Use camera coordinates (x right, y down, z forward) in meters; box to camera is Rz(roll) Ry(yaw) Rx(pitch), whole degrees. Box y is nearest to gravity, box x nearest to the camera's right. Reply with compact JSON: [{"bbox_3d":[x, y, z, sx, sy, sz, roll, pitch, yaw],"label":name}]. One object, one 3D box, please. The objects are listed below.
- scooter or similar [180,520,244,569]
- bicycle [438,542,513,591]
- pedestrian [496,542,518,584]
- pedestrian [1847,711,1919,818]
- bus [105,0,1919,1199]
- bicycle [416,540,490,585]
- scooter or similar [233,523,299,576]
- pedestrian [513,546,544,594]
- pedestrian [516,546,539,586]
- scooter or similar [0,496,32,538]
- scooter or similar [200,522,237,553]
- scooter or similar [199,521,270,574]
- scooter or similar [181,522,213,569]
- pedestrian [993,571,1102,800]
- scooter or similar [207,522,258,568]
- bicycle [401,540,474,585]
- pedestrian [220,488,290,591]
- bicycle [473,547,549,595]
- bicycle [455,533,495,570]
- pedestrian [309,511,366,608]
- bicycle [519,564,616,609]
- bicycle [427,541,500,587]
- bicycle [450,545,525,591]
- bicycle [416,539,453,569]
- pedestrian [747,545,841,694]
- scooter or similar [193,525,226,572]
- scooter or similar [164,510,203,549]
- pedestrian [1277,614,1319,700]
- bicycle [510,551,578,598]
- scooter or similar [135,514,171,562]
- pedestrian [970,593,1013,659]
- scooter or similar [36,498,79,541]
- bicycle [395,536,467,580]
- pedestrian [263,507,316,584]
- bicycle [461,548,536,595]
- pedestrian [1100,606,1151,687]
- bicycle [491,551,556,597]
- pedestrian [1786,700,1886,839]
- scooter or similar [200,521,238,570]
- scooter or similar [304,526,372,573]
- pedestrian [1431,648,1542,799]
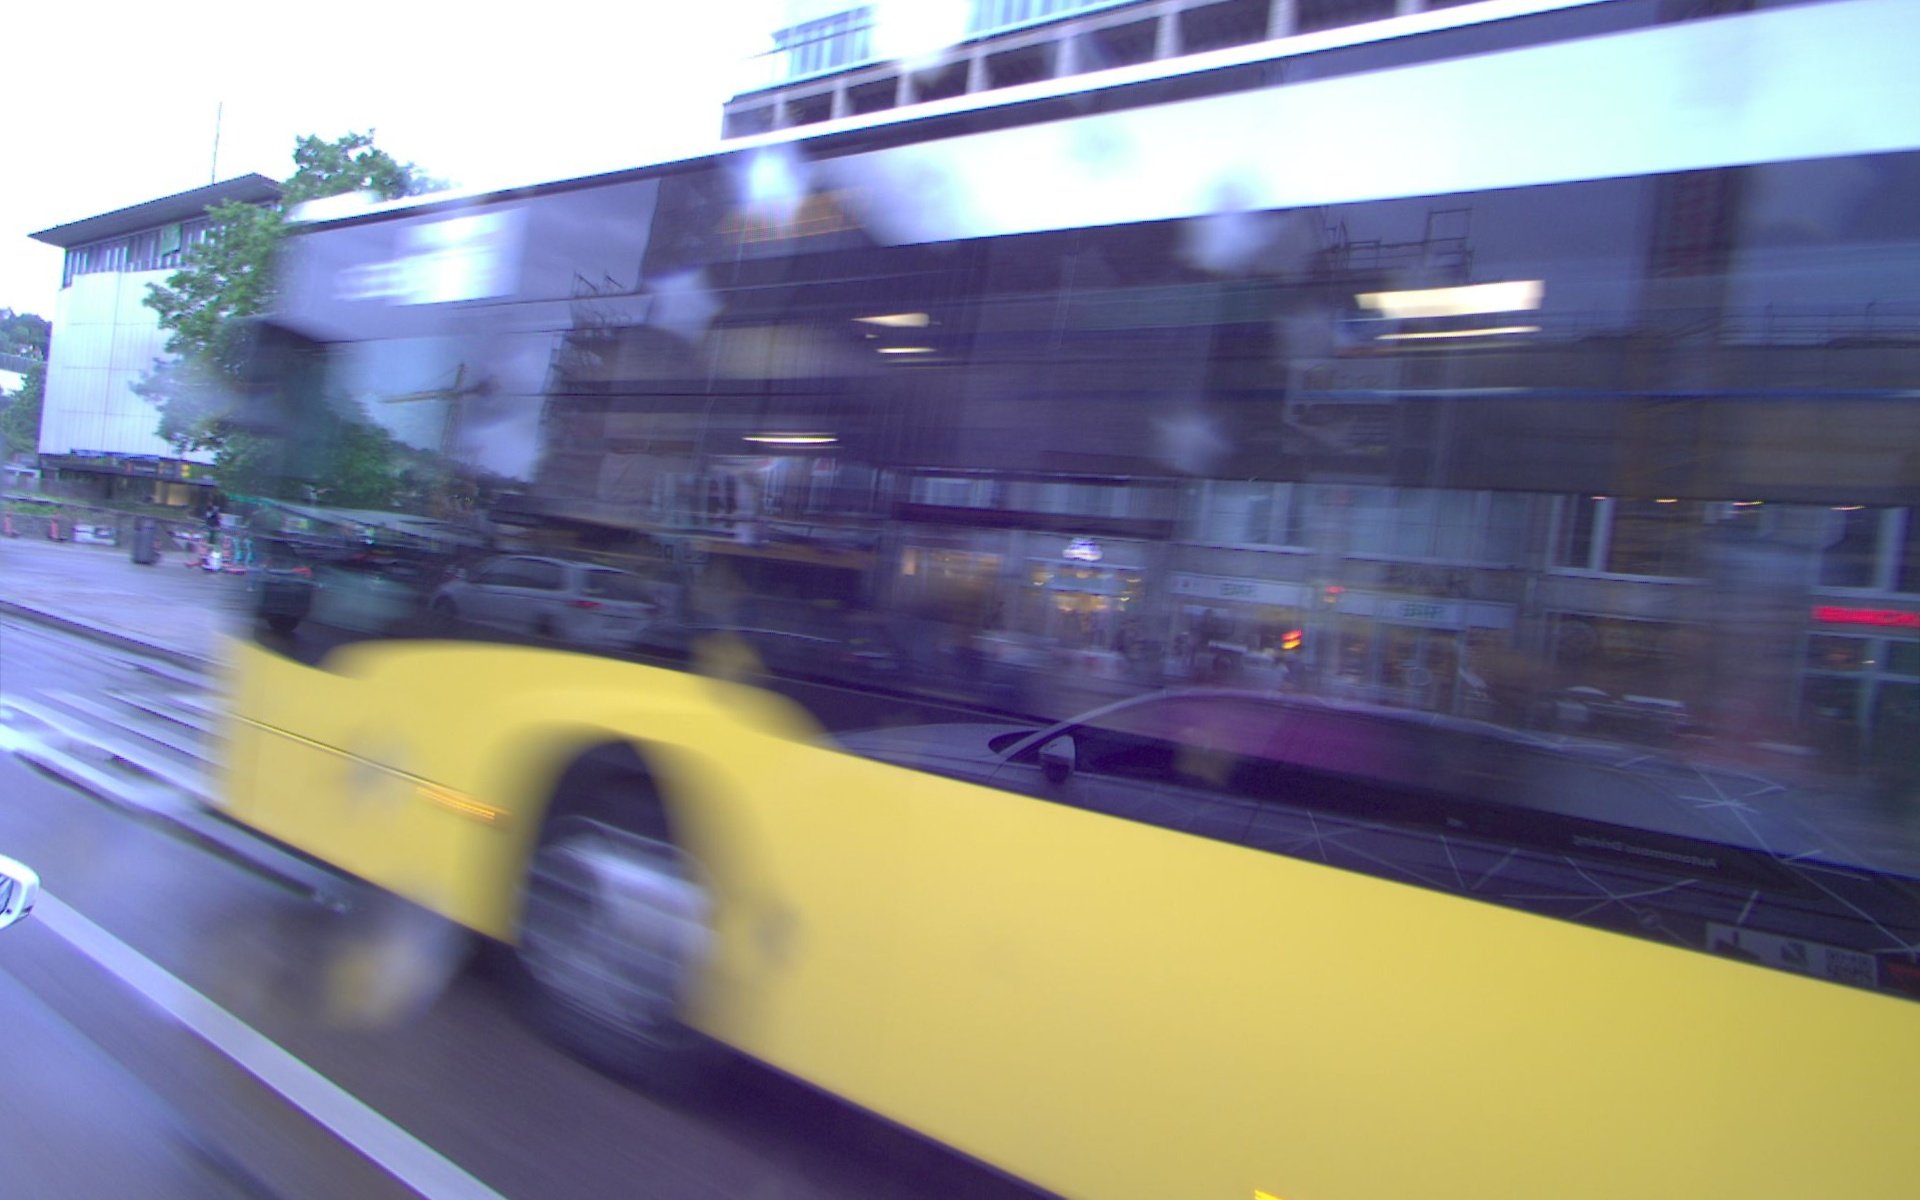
[{"bbox_3d":[-22.276,-1.648,29.985,1.351,1.265,0.435,8,-1,-28],"label":"scooter or similar"},{"bbox_3d":[-15.177,-1.047,31.557,0.608,1.353,1.989,7,2,33],"label":"bicycle"},{"bbox_3d":[-18.336,-1.510,40.707,0.637,1.622,0.613,5,2,-19],"label":"pedestrian"},{"bbox_3d":[14.746,2.594,15.961,0.579,1.540,0.689,7,1,7],"label":"pedestrian"},{"bbox_3d":[1.115,0.231,3.312,9.089,3.243,3.118,7,-1,32],"label":"bus"},{"bbox_3d":[-16.216,-1.181,32.213,0.608,1.254,1.989,7,2,33],"label":"bicycle"},{"bbox_3d":[-19.069,-1.371,27.656,0.581,1.272,1.308,7,-1,18],"label":"scooter or similar"},{"bbox_3d":[-16.328,-1.128,38.065,0.783,1.694,0.885,7,0,-17],"label":"pedestrian"},{"bbox_3d":[-17.597,-1.394,40.958,0.662,1.543,0.779,6,1,-19],"label":"pedestrian"},{"bbox_3d":[-30.463,-2.691,32.463,1.138,1.231,0.352,7,-1,30],"label":"scooter or similar"},{"bbox_3d":[-29.056,-2.436,39.429,1.291,1.048,0.477,7,2,19],"label":"scooter or similar"},{"bbox_3d":[-20.083,-1.444,27.869,1.348,1.245,0.568,7,0,-14],"label":"scooter or similar"},{"bbox_3d":[-21.582,-1.545,28.464,0.941,1.221,0.305,7,0,33],"label":"scooter or similar"},{"bbox_3d":[0.685,0.646,7.750,0.502,1.638,0.595,7,0,22],"label":"pedestrian"},{"bbox_3d":[-22.217,-1.660,30.731,1.086,1.231,0.473,8,0,-28],"label":"scooter or similar"},{"bbox_3d":[-16.957,-1.204,32.698,0.608,1.254,1.989,7,2,33],"label":"bicycle"},{"bbox_3d":[-14.240,-1.219,20.334,0.774,1.957,0.708,7,1,22],"label":"pedestrian"},{"bbox_3d":[-13.500,-0.862,30.317,0.608,1.282,1.989,7,2,33],"label":"bicycle"},{"bbox_3d":[-23.564,-2.350,48.866,2.100,1.581,0.792,7,1,40],"label":"bicycle"},{"bbox_3d":[-11.123,-0.721,17.982,0.649,1.639,0.495,6,1,-44],"label":"pedestrian"},{"bbox_3d":[-11.216,-0.365,28.903,0.863,1.123,2.884,7,1,19],"label":"bicycle"},{"bbox_3d":[-15.709,-1.130,31.879,0.608,1.254,1.989,7,2,33],"label":"bicycle"},{"bbox_3d":[-14.638,-0.975,31.215,0.608,1.254,1.989,7,2,33],"label":"bicycle"},{"bbox_3d":[-22.763,-2.009,43.545,1.995,1.116,0.615,7,3,40],"label":"bicycle"},{"bbox_3d":[-2.152,0.252,13.035,0.730,1.815,0.747,6,1,-44],"label":"pedestrian"},{"bbox_3d":[-19.619,-1.349,26.301,0.434,1.142,1.355,9,-2,-32],"label":"scooter or similar"},{"bbox_3d":[-29.474,-2.678,38.202,1.291,1.348,0.410,7,0,19],"label":"scooter or similar"},{"bbox_3d":[8.016,1.345,23.868,0.470,1.954,0.580,5,2,-44],"label":"pedestrian"},{"bbox_3d":[-12.267,-0.729,29.706,0.606,1.254,1.994,7,2,19],"label":"bicycle"},{"bbox_3d":[-22.389,-1.723,27.906,1.081,1.252,0.324,7,0,33],"label":"scooter or similar"},{"bbox_3d":[0.913,0.767,29.189,0.776,1.815,0.732,7,1,32],"label":"pedestrian"},{"bbox_3d":[-30.197,-2.682,33.667,1.291,1.274,0.374,7,0,19],"label":"scooter or similar"},{"bbox_3d":[-17.485,-1.384,33.268,0.608,1.254,1.989,7,2,33],"label":"bicycle"},{"bbox_3d":[-15.668,-1.270,23.502,0.783,1.662,0.779,6,1,-44],"label":"pedestrian"},{"bbox_3d":[-14.095,-0.860,30.778,0.608,1.254,1.989,7,2,33],"label":"bicycle"},{"bbox_3d":[3.912,1.104,23.773,0.777,1.815,0.652,7,1,36],"label":"pedestrian"},{"bbox_3d":[-12.987,-0.763,29.972,0.608,1.241,1.616,7,2,33],"label":"bicycle"},{"bbox_3d":[13.460,2.585,15.481,0.642,1.954,0.789,7,1,7],"label":"pedestrian"},{"bbox_3d":[-21.228,-1.556,28.828,1.154,1.296,0.369,7,0,33],"label":"scooter or similar"},{"bbox_3d":[-20.220,-1.630,32.731,1.718,1.275,0.622,7,0,5],"label":"scooter or similar"},{"bbox_3d":[6.968,1.604,13.366,0.774,1.815,0.992,7,1,4],"label":"pedestrian"}]
